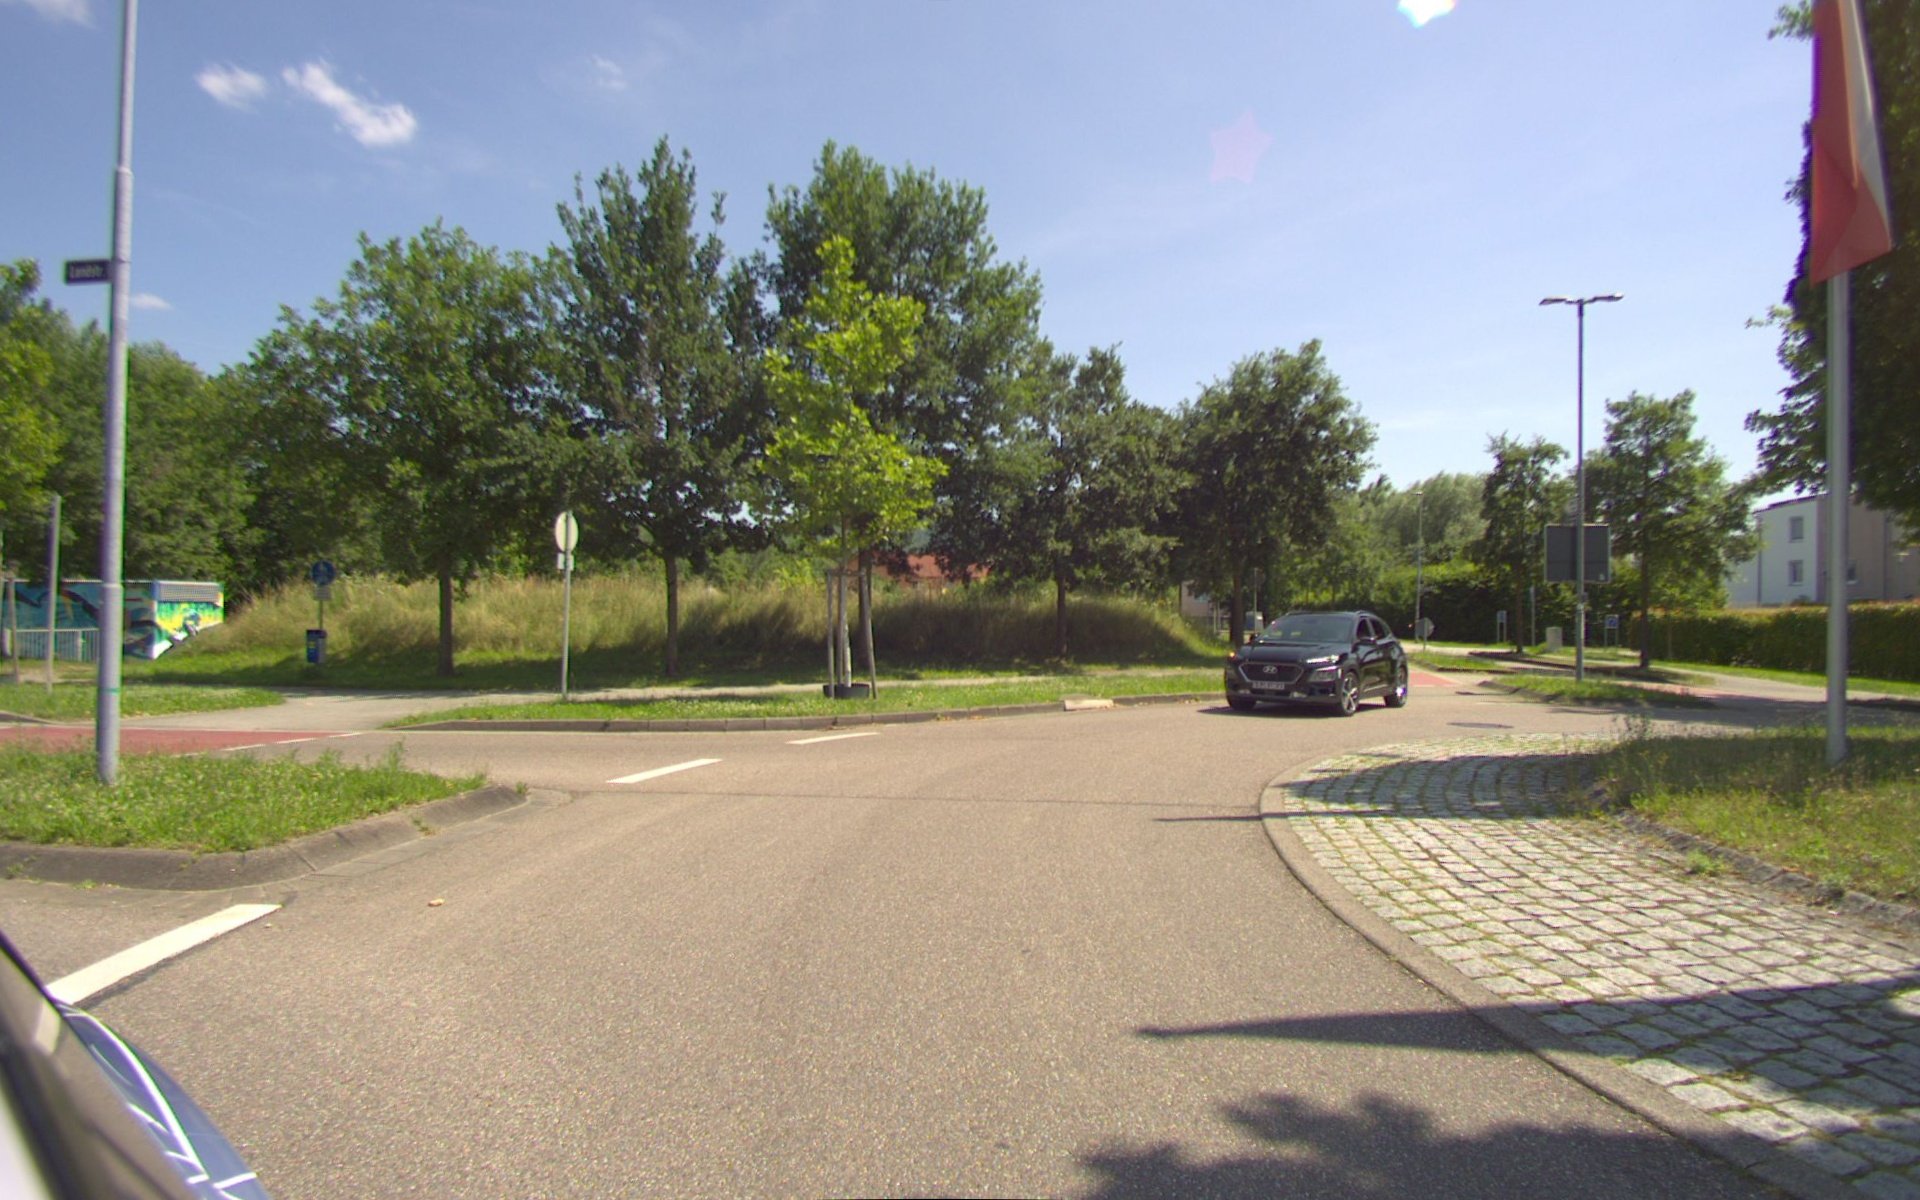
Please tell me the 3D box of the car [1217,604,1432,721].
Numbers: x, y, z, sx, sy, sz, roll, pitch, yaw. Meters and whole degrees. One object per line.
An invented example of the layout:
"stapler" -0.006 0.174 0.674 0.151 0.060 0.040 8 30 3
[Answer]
"car" 5.876 0.901 15.993 1.864 1.581 4.428 -1 -2 39
